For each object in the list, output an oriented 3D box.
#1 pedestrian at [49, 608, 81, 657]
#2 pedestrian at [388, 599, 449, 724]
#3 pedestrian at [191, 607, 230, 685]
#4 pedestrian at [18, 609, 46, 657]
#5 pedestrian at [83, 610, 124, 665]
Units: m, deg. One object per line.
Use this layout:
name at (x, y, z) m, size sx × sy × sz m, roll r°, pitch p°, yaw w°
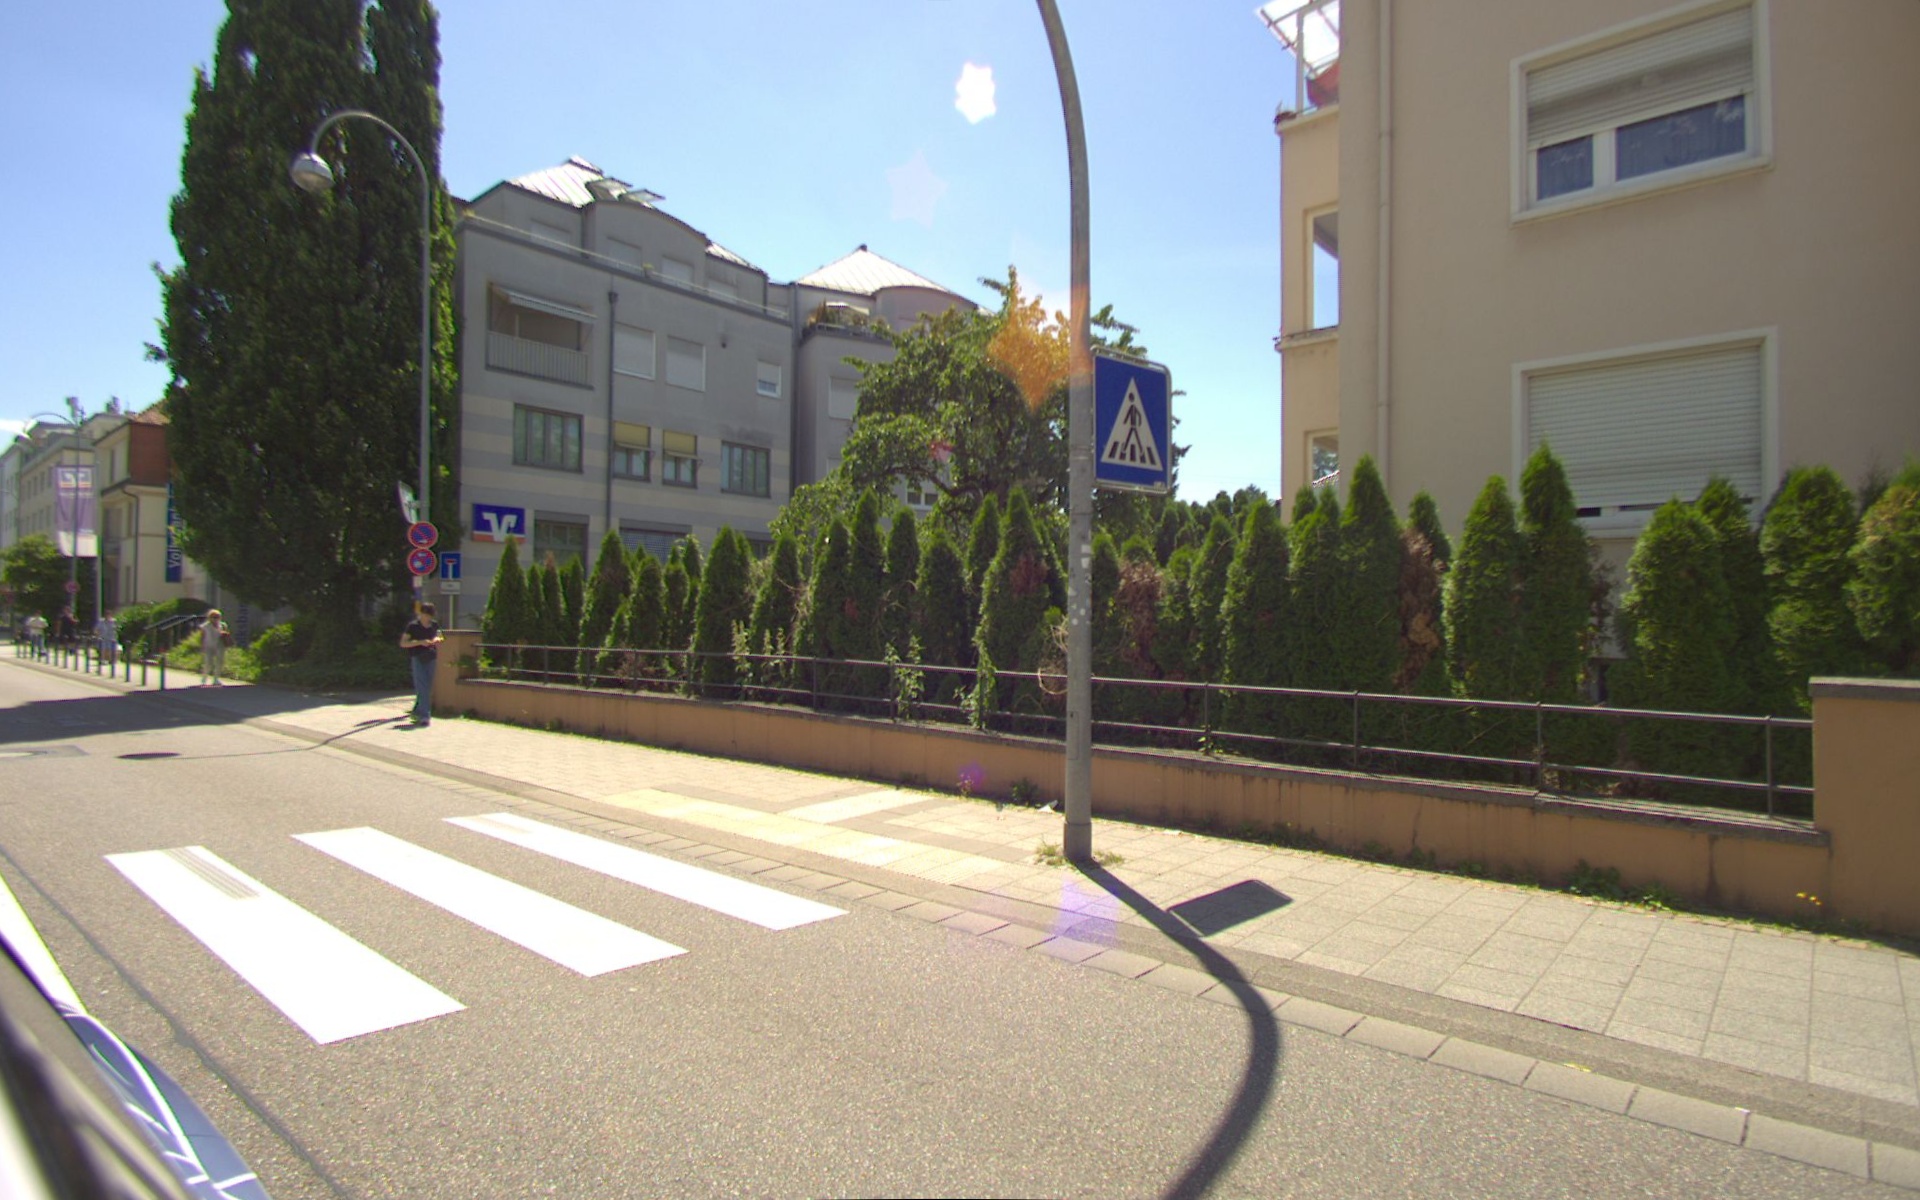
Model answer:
pedestrian at (-32.591, 1.174, 36.851) m, size 0.950 × 1.784 × 0.740 m, roll -1°, pitch -1°, yaw 40°
pedestrian at (-7.618, 0.845, 14.244) m, size 0.708 × 1.698 × 0.531 m, roll -1°, pitch -1°, yaw 41°
pedestrian at (-16.588, 0.996, 22.404) m, size 0.708 × 1.698 × 0.531 m, roll -1°, pitch -1°, yaw 41°
pedestrian at (-33.274, 1.160, 36.271) m, size 0.903 × 1.689 × 0.614 m, roll -1°, pitch 0°, yaw 40°
pedestrian at (-26.490, 1.142, 31.296) m, size 0.751 × 1.657 × 0.836 m, roll 0°, pitch 1°, yaw 43°
